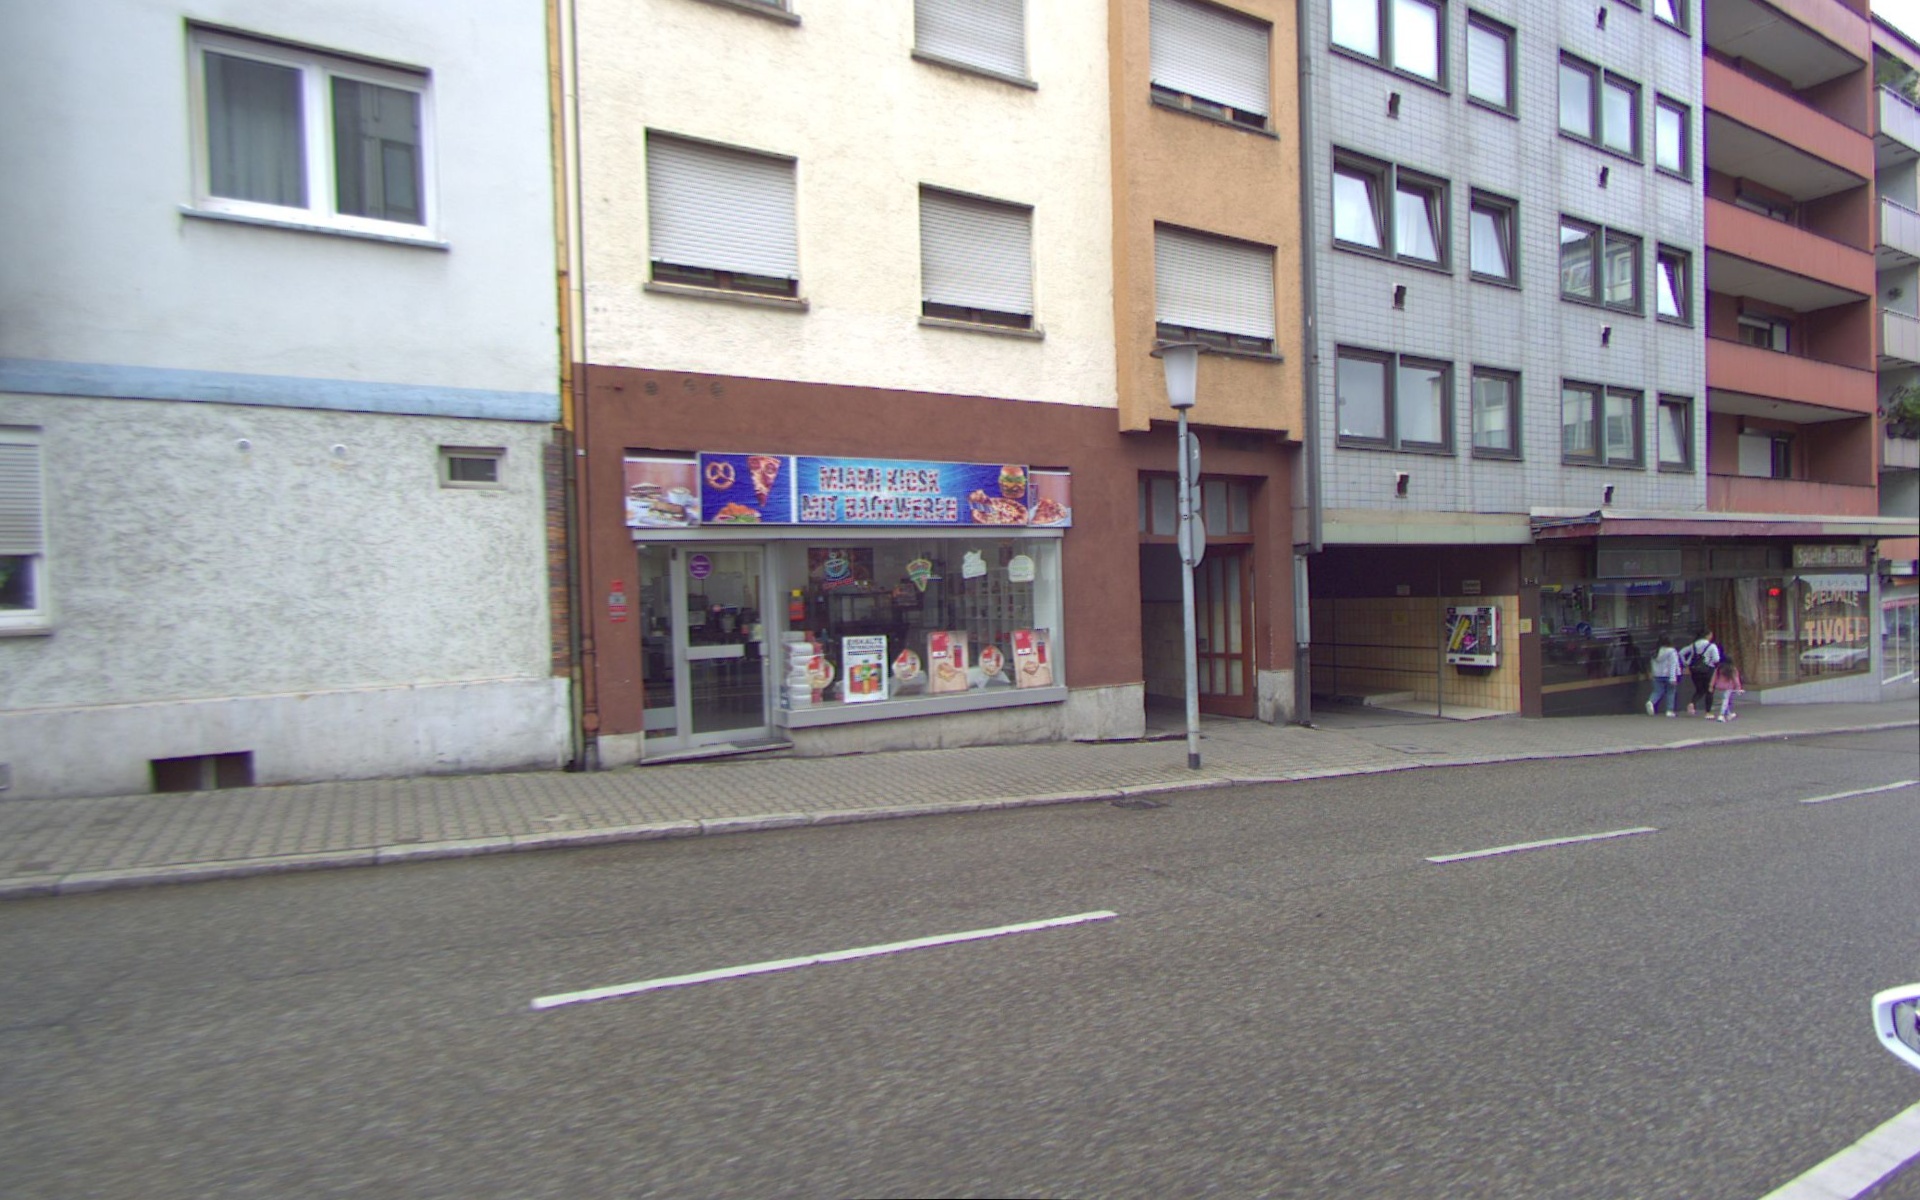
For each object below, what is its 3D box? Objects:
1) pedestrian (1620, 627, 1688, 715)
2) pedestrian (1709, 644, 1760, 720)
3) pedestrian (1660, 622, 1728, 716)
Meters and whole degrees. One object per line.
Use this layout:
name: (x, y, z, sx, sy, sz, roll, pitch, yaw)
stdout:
pedestrian: (13.317, 1.343, 19.284, 0.717, 1.581, 0.821, 1, 2, -38)
pedestrian: (14.469, 1.515, 18.762, 0.717, 1.341, 0.529, 1, 2, -38)
pedestrian: (14.149, 1.318, 19.381, 0.717, 1.712, 0.821, 1, 2, -38)
